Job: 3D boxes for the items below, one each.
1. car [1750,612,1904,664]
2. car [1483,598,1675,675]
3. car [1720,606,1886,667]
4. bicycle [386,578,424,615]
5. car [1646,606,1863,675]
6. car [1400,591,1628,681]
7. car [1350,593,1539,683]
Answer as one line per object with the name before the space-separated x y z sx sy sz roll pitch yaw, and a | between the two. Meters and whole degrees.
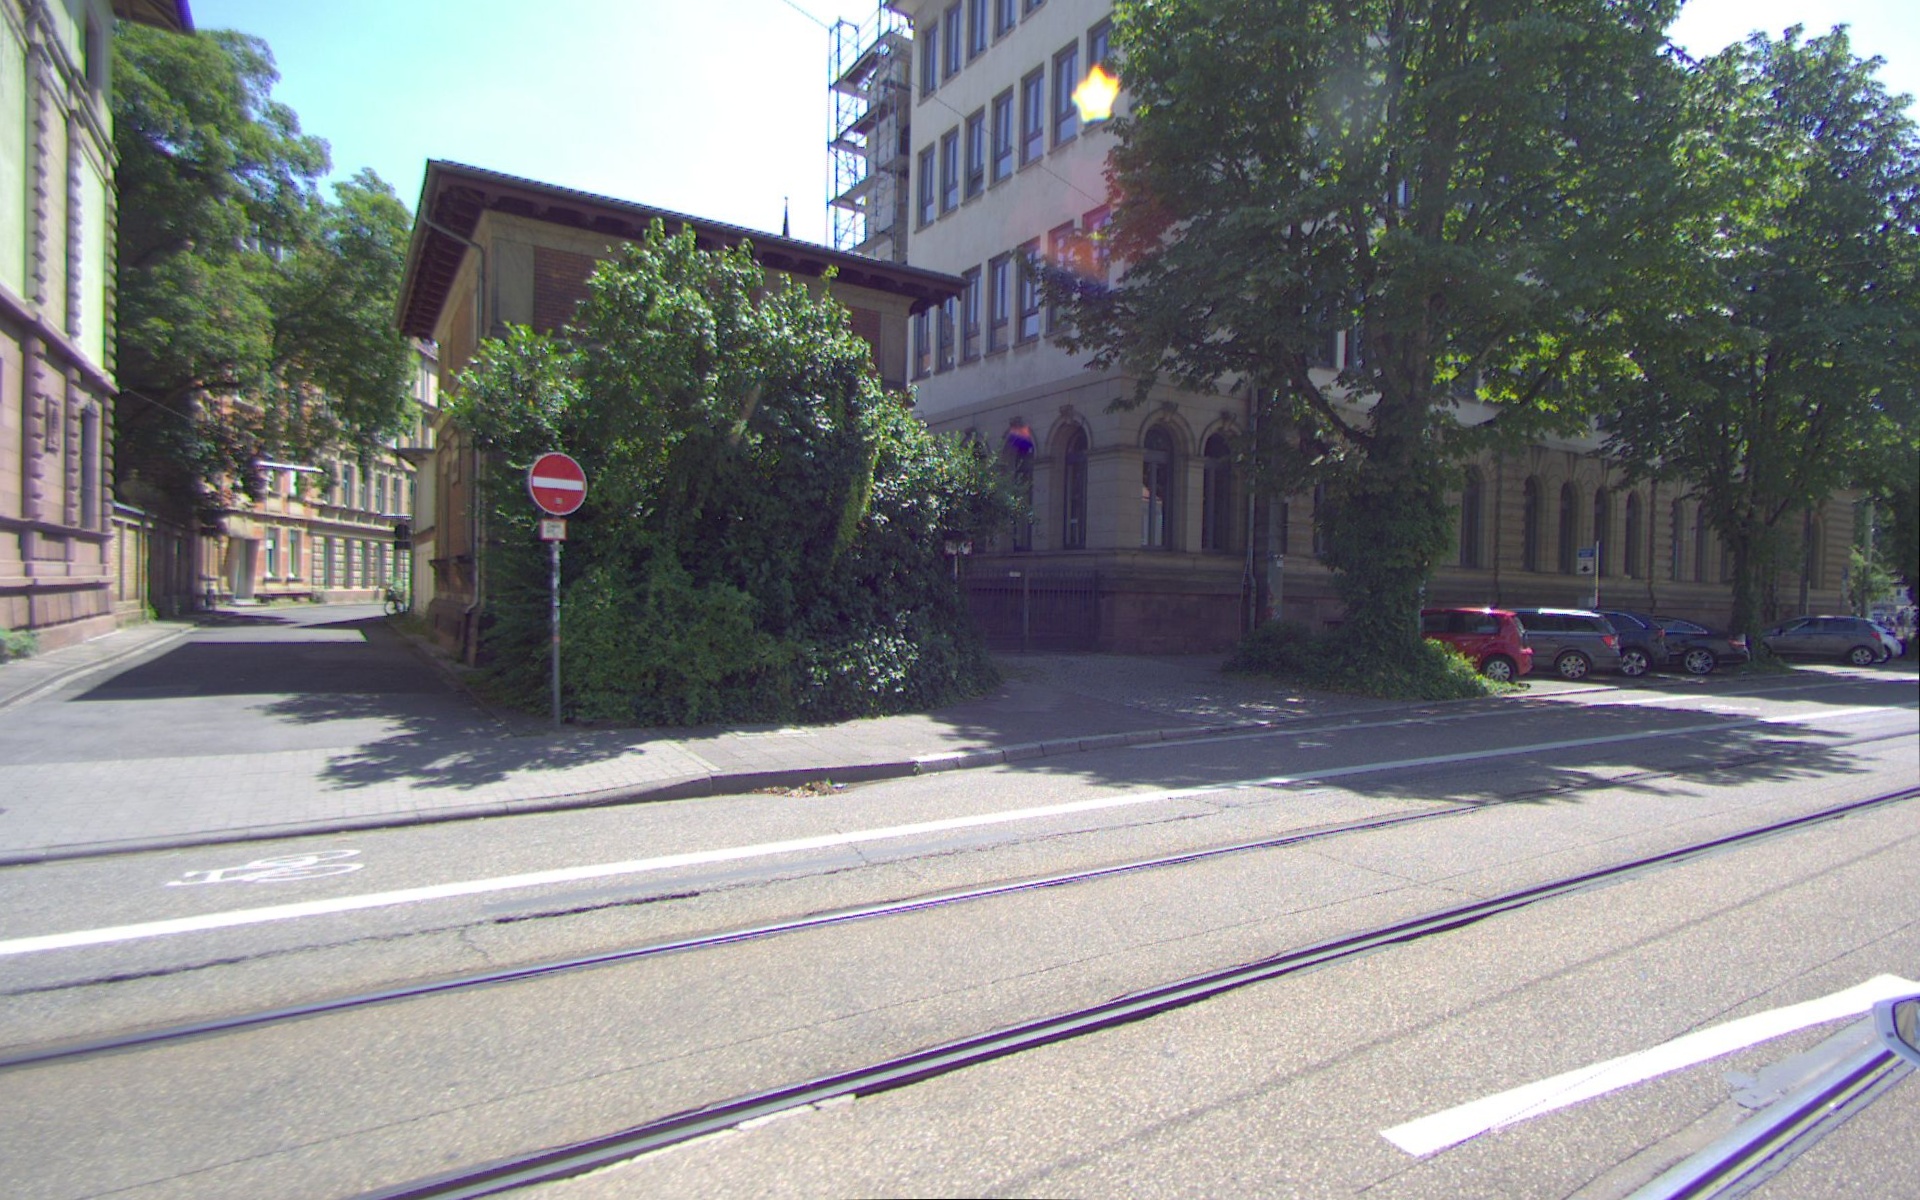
car | 28.394 1.205 33.045 3.486 1.425 1.699 3 2 30
car | 14.720 0.812 24.125 3.749 1.598 1.790 2 1 29
car | 26.209 1.091 31.394 3.611 1.540 1.666 4 2 30
bicycle | -20.249 -0.141 36.671 0.774 1.293 2.932 1 1 -21
car | 18.867 0.904 24.084 3.866 1.393 1.665 2 1 33
car | 12.338 0.743 22.599 4.244 1.606 1.666 4 2 29
car | 10.016 0.726 20.810 3.294 1.536 1.665 4 2 32
